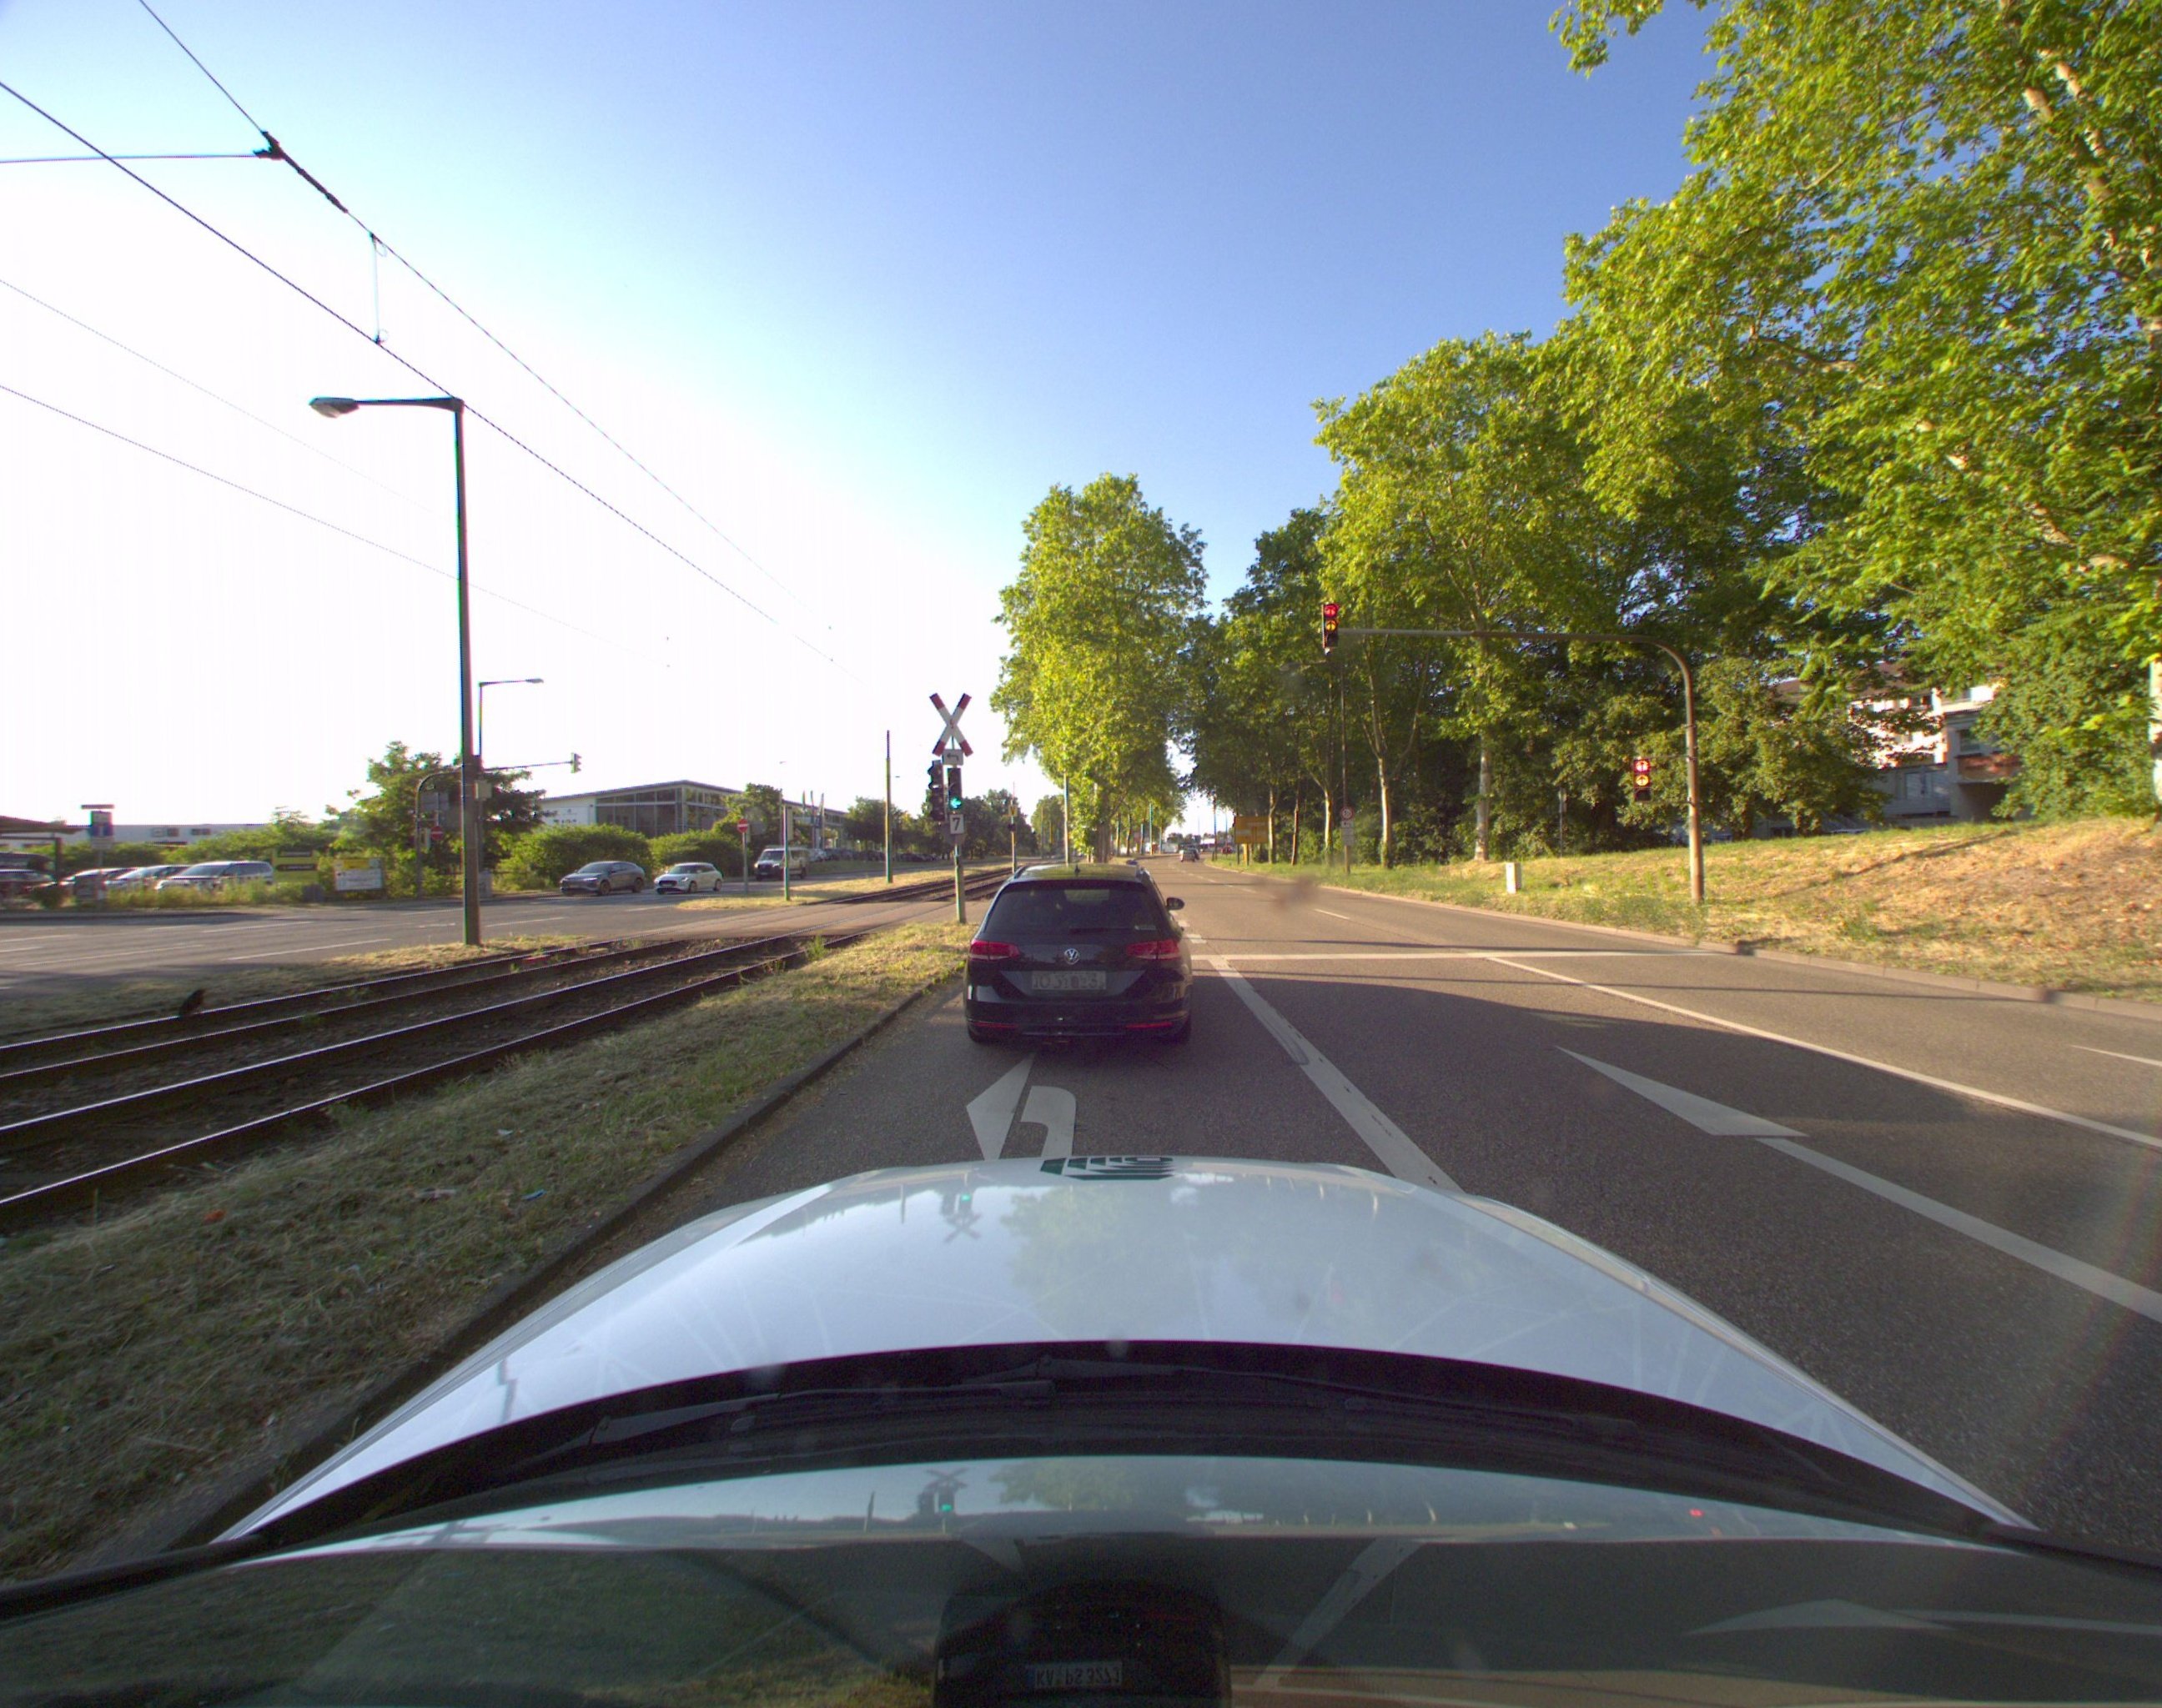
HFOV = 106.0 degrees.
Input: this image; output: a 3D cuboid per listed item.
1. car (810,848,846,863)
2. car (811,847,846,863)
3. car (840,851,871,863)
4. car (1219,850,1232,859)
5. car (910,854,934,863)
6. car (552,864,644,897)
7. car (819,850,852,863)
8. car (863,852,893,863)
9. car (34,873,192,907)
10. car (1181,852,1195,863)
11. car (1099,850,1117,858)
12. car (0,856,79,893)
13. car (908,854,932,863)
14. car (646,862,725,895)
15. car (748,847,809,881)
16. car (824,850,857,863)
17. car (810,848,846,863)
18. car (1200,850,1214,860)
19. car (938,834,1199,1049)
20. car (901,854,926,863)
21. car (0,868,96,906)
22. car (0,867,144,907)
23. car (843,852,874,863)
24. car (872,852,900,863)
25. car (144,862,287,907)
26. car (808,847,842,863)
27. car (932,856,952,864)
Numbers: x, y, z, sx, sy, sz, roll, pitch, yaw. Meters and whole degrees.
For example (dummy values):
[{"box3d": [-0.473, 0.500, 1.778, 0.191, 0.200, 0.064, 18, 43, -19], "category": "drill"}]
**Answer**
[{"box3d": [-29.946, 0.160, 96.393, 3.999, 1.704, 1.732, -1, 0, -19], "category": "car"}, {"box3d": [-30.597, 0.124, 98.748, 3.999, 1.816, 1.732, -1, 0, -19], "category": "car"}, {"box3d": [-31.222, 0.432, 112.617, 3.999, 1.556, 1.732, -1, 0, -19], "category": "car"}, {"box3d": [26.326, 0.066, 148.121, 1.858, 1.635, 4.388, 2, 0, 15], "category": "car"}, {"box3d": [-29.248, 0.904, 150.018, 3.978, 1.621, 1.742, -1, 0, -3], "category": "car"}, {"box3d": [-23.887, 1.281, 40.477, 1.854, 1.481, 4.176, 0, 0, 3], "category": "car"}, {"box3d": [-31.146, 0.296, 103.428, 3.999, 1.556, 1.732, -1, 0, -19], "category": "car"}, {"box3d": [-30.601, 0.540, 122.756, 3.978, 1.621, 1.742, -1, 0, -3], "category": "car"}, {"box3d": [-42.470, 1.561, 35.900, 1.855, 1.267, 4.174, 0, 0, 2], "category": "car"}, {"box3d": [13.345, 0.397, 101.939, 1.601, 1.294, 3.989, 0, 0, 5], "category": "car"}, {"box3d": [5.074, -0.021, 150.900, 1.976, 1.420, 4.022, -1, 0, 23], "category": "car"}, {"box3d": [-60.420, 1.149, 45.917, 1.855, 2.014, 4.773, 0, 0, 2], "category": "car"}, {"box3d": [-29.096, 0.860, 146.850, 3.978, 1.621, 1.742, -1, 0, -3], "category": "car"}, {"box3d": [-19.766, 1.187, 40.907, 1.855, 1.481, 4.093, 0, 0, 2], "category": "car"}, {"box3d": [-22.862, 0.691, 61.907, 2.086, 2.461, 5.859, 0, 0, 4], "category": "car"}, {"box3d": [-31.360, 0.340, 106.219, 3.999, 1.556, 1.732, -1, 0, -19], "category": "car"}, {"box3d": [-29.256, 0.142, 94.125, 3.999, 1.704, 1.732, -1, 0, -19], "category": "car"}, {"box3d": [30.213, 0.239, 195.236, 2.077, 2.321, 5.882, 0, 0, 21], "category": "car"}, {"box3d": [-0.041, 0.605, 7.398, 1.788, 1.464, 3.584, 0, 0, 1], "category": "car"}, {"box3d": [-28.756, 0.761, 139.681, 3.978, 1.621, 1.742, -1, 0, -3], "category": "car"}, {"box3d": [-47.159, 1.450, 36.056, 1.970, 1.583, 4.174, 0, 0, 2], "category": "car"}, {"box3d": [-44.710, 1.401, 35.903, 1.855, 1.583, 4.174, 0, 0, 2], "category": "car"}, {"box3d": [-31.431, 0.470, 115.324, 3.983, 1.556, 1.739, -1, 0, -7], "category": "car"}, {"box3d": [-30.112, 0.584, 125.958, 3.978, 1.621, 1.742, -1, 0, -3], "category": "car"}, {"box3d": [-38.523, 1.320, 36.421, 1.855, 1.821, 4.174, 0, 0, 2], "category": "car"}, {"box3d": [-31.640, 0.126, 100.529, 3.999, 1.816, 1.732, -1, 0, -19], "category": "car"}, {"box3d": [-28.801, 1.176, 168.930, 3.977, 1.556, 1.742, -1, 0, -2], "category": "car"}]
